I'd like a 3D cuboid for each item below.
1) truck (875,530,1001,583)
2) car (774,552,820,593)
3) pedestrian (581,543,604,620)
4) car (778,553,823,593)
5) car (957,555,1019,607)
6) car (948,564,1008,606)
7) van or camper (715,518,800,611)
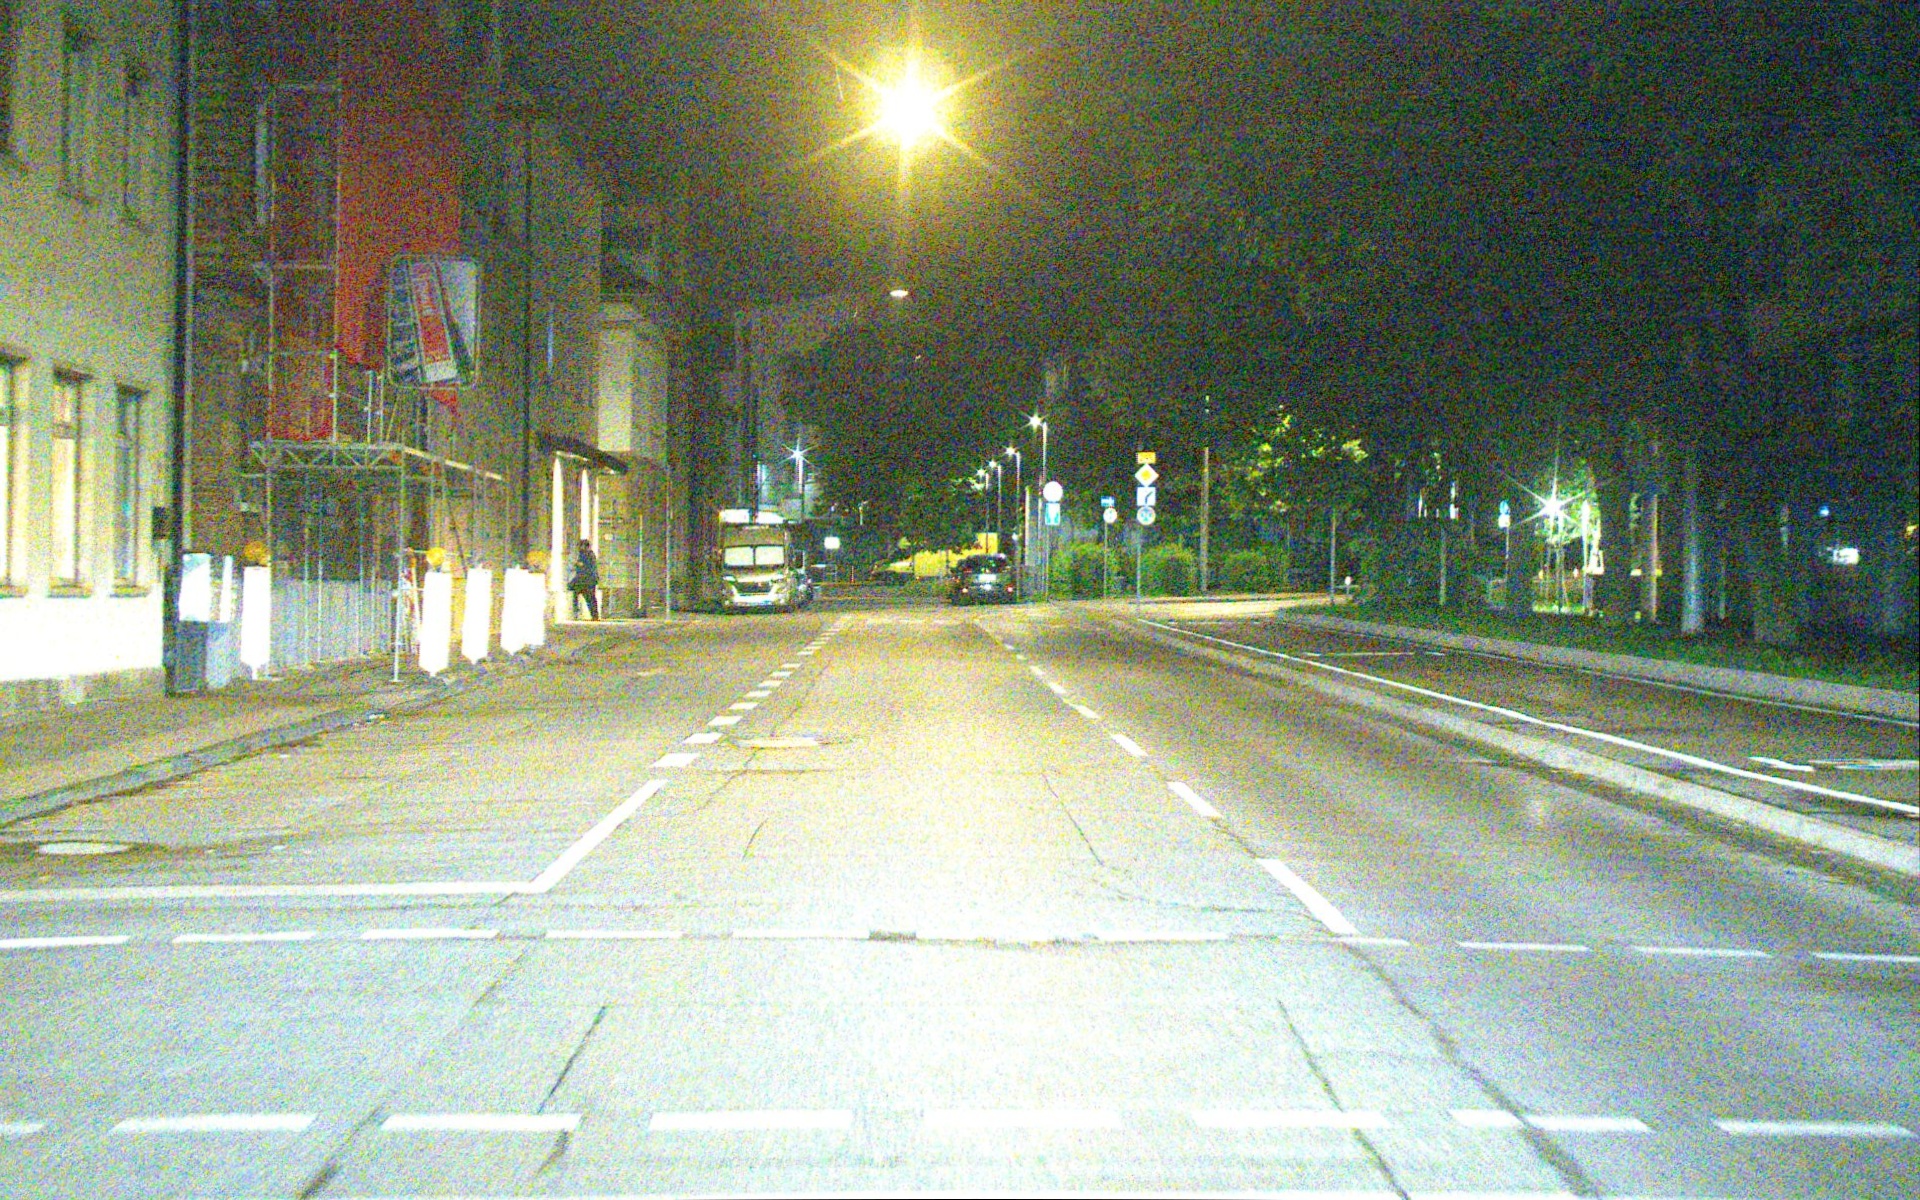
[{"bbox_3d":[-1.221,-2.379,187.720,6.775,2.835,2.000,1,1,-3],"label":"truck"},{"bbox_3d":[-6.287,-1.054,132.911,1.704,1.505,4.100,1,0,-2],"label":"car"},{"bbox_3d":[-8.145,-0.403,76.184,0.415,1.702,0.442,0,0,-17],"label":"pedestrian"},{"bbox_3d":[-6.431,-1.070,138.855,1.677,1.561,4.105,0,0,-1],"label":"car"},{"bbox_3d":[0.906,-0.599,110.116,1.884,1.597,4.107,-2,0,1],"label":"car"},{"bbox_3d":[0.594,-0.504,115.589,1.963,1.378,4.000,0,0,0],"label":"car"},{"bbox_3d":[-5.829,-1.000,99.641,2.158,2.527,6.227,-2,0,-1],"label":"van or camper"}]
